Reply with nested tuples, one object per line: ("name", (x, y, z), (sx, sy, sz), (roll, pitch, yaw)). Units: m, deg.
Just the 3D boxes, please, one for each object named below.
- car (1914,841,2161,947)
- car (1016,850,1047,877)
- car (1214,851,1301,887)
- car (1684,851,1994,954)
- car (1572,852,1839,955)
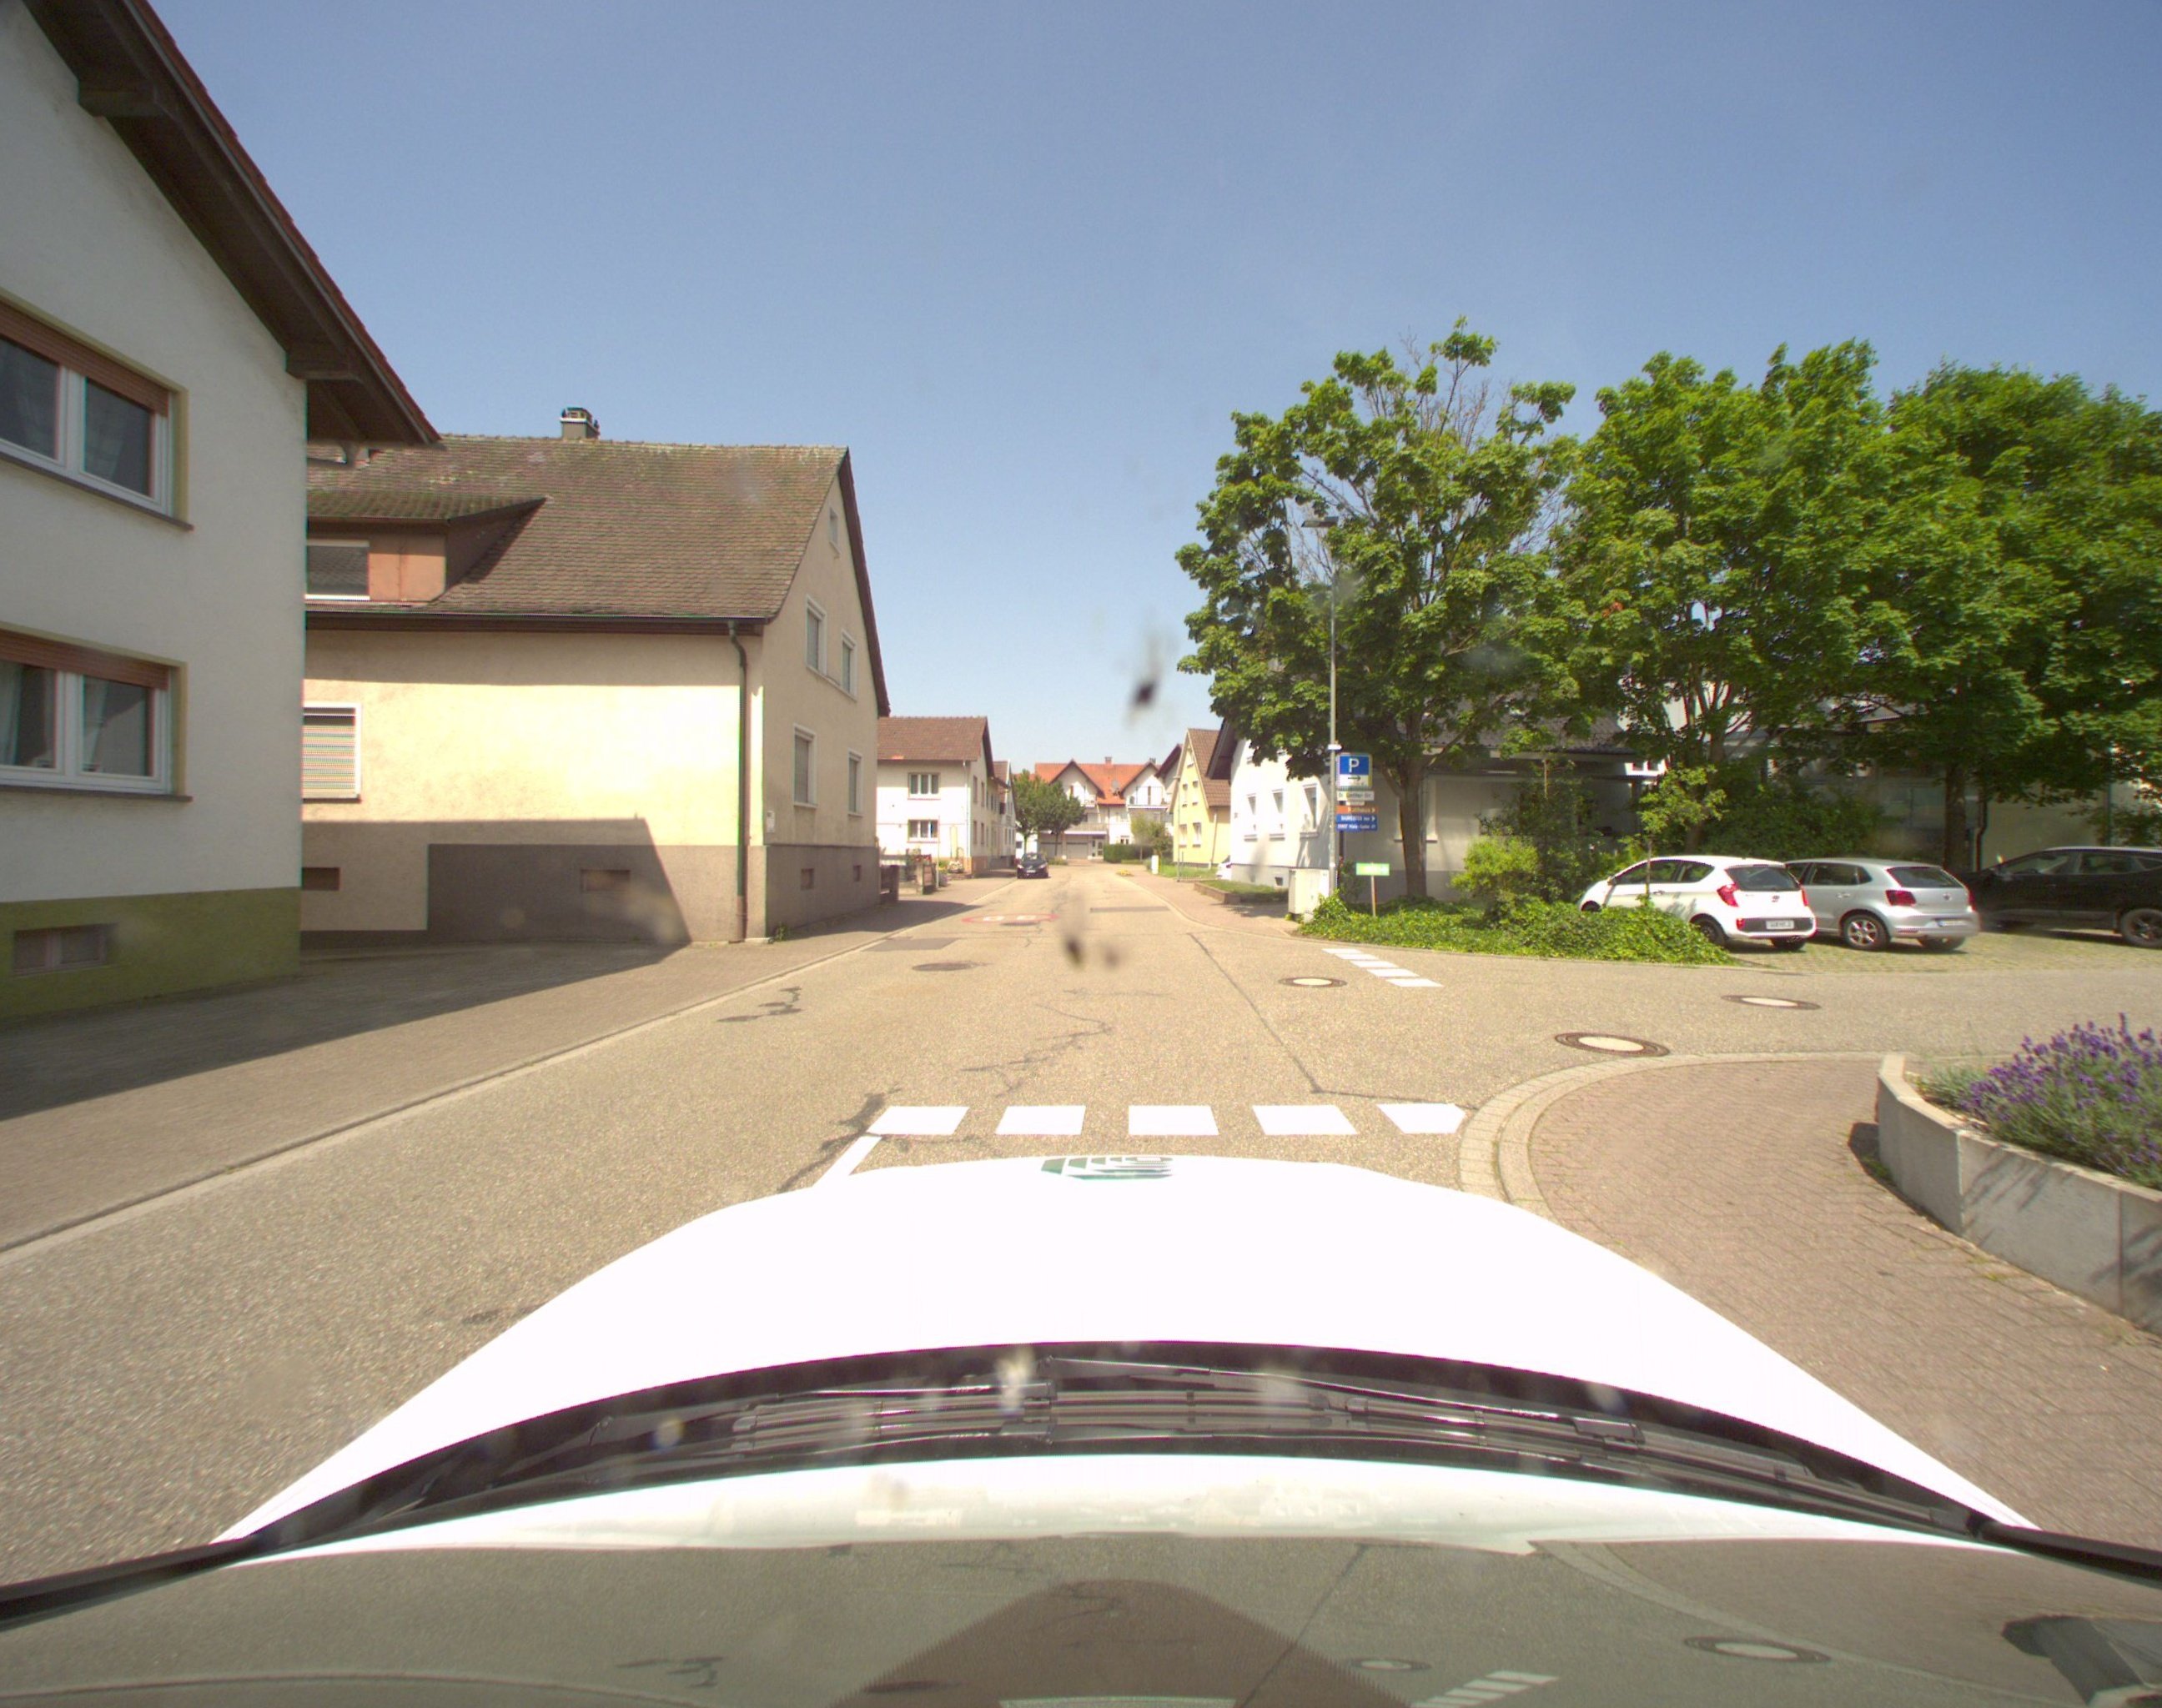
("car", (18.106, 0.634, 14.843), (1.592, 1.683, 3.851), (0, 1, -10))
("car", (-2.817, 0.531, 47.205), (1.622, 1.486, 3.998), (-1, 0, -2))
("car", (6.902, 0.581, 31.916), (3.040, 1.345, 1.419), (0, -1, -8))
("car", (12.968, 0.729, 14.296), (1.590, 1.473, 3.854), (0, 1, -8))
("car", (10.379, 0.729, 13.889), (1.590, 1.445, 3.559), (0, 1, -7))
